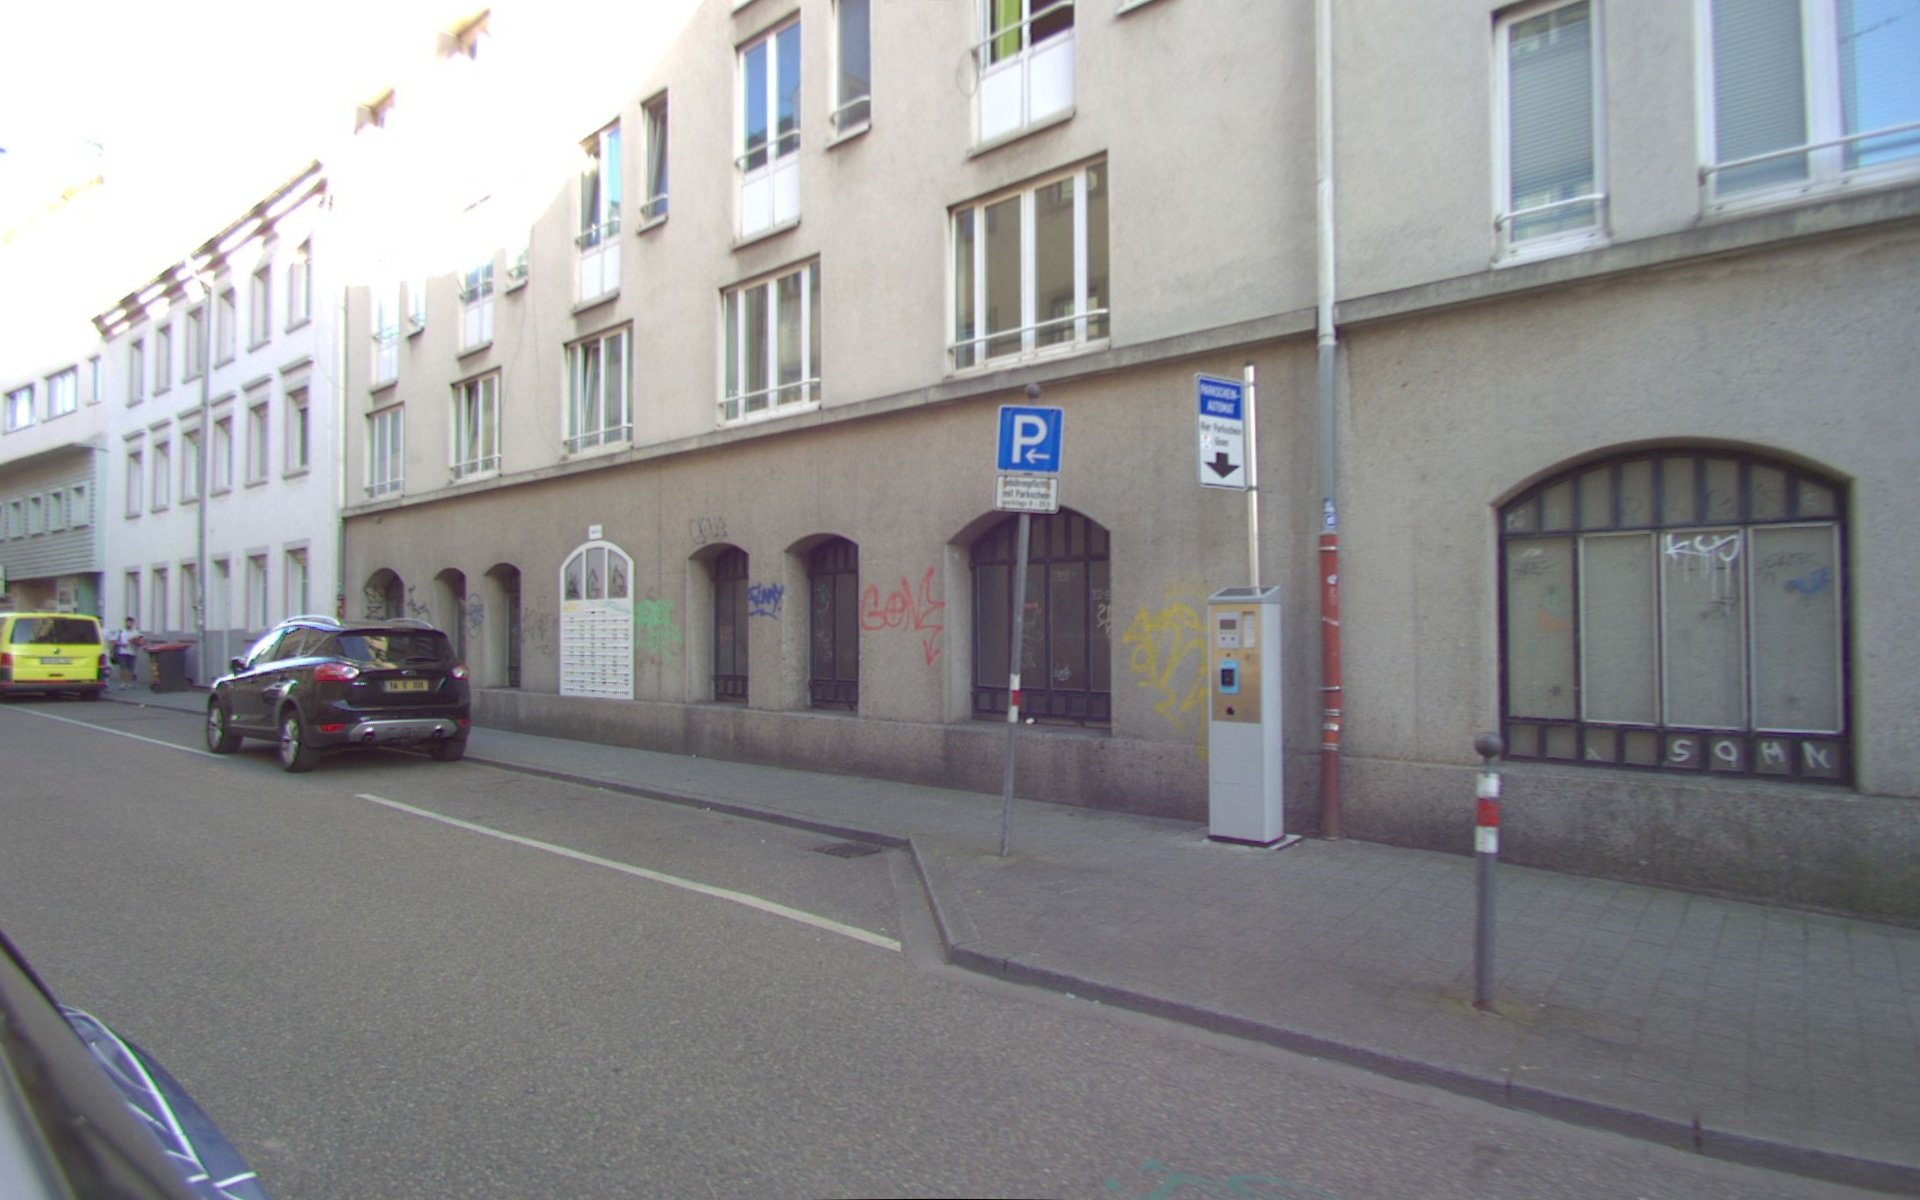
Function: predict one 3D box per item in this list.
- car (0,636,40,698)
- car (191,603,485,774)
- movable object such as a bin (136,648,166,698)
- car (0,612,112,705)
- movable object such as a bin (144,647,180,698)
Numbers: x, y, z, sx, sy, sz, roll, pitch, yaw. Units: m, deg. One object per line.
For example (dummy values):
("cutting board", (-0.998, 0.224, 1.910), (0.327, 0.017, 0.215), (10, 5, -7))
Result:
("car", (-25.258, 1.667, 25.722), (4.065, 1.497, 1.804), (-1, -5, 34))
("car", (-7.624, 1.000, 12.256), (4.187, 1.724, 1.722), (-2, -5, 40))
("movable object such as a bin", (-18.436, 1.659, 23.063), (0.432, 1.113, 0.406), (-2, -3, 38))
("car", (-20.908, 1.291, 22.561), (4.854, 1.881, 1.863), (-2, -5, 36))
("movable object such as a bin", (-17.922, 1.614, 22.728), (0.432, 1.113, 0.535), (-2, -3, 38))
